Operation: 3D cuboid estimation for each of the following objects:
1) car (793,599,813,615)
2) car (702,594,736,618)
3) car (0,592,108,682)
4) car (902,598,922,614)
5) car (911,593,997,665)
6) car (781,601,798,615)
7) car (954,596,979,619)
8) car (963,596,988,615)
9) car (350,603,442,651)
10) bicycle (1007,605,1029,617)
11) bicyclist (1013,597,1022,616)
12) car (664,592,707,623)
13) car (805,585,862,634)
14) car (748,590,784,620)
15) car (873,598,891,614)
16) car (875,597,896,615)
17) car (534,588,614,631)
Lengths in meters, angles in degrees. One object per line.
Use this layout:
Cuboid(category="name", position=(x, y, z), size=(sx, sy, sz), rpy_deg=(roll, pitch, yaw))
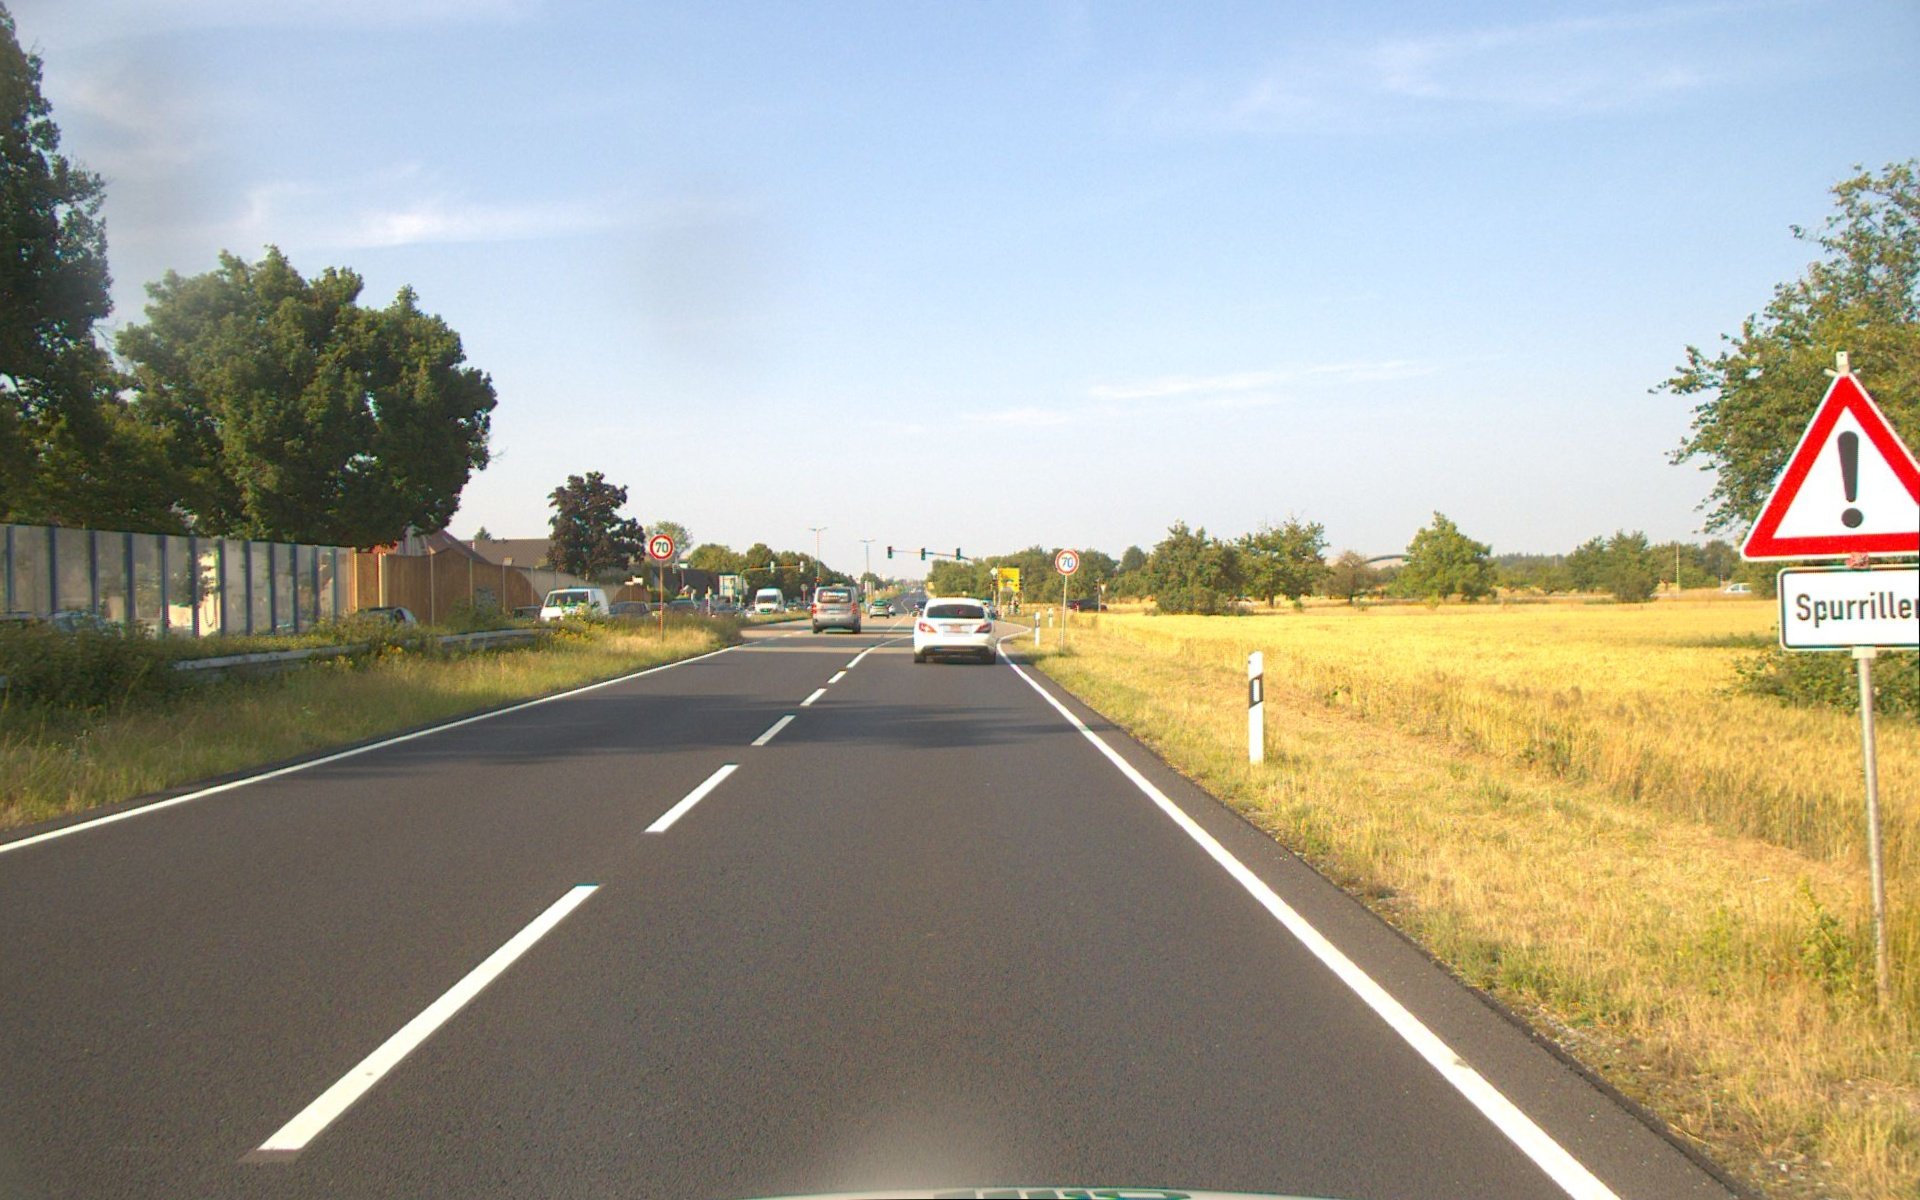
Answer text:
Cuboid(category="car", position=(-16.455, 0.705, 173.649), size=(1.696, 1.653, 4.920), rpy_deg=(1, 0, -2))
Cuboid(category="car", position=(-14.898, 0.359, 102.260), size=(1.615, 1.467, 3.567), rpy_deg=(1, 0, -1))
Cuboid(category="car", position=(-16.678, 0.602, 28.799), size=(1.719, 1.467, 3.998), rpy_deg=(1, 0, -2))
Cuboid(category="car", position=(-5.066, 0.633, 174.692), size=(1.803, 1.713, 3.996), rpy_deg=(1, 0, -5))
Cuboid(category="car", position=(-0.181, 0.623, 37.711), size=(1.856, 1.535, 3.999), rpy_deg=(0, 0, -2))
Cuboid(category="car", position=(-21.406, 0.992, 207.695), size=(1.687, 1.736, 3.999), rpy_deg=(1, 0, -1))
Cuboid(category="car", position=(0.445, 0.534, 118.802), size=(1.718, 1.543, 3.999), rpy_deg=(-1, 0, -1))
Cuboid(category="car", position=(1.330, 0.464, 142.687), size=(1.818, 1.626, 3.997), rpy_deg=(1, 0, -4))
Cuboid(category="car", position=(-17.479, 0.816, 51.403), size=(1.640, 1.402, 3.606), rpy_deg=(1, 0, -1))
Cuboid(category="bicycle", position=(5.564, 1.070, 158.635), size=(2.052, 1.108, 0.808), rpy_deg=(1, 0, 2))
Cuboid(category="bicyclist", position=(5.530, 0.654, 158.649), size=(0.831, 1.786, 0.798), rpy_deg=(1, 0, 0))
Cuboid(category="car", position=(-13.921, 0.369, 84.124), size=(1.484, 1.491, 4.657), rpy_deg=(1, 0, -1))
Cuboid(category="car", position=(-5.134, 0.343, 67.778), size=(1.984, 1.925, 4.958), rpy_deg=(1, 1, -1))
Cuboid(category="car", position=(-16.019, 0.417, 136.685), size=(2.301, 2.344, 7.188), rpy_deg=(1, 0, -2))
Cuboid(category="car", position=(-8.392, 0.625, 177.601), size=(1.741, 1.695, 3.660), rpy_deg=(1, 0, -5))
Cuboid(category="car", position=(-6.429, 0.478, 142.505), size=(1.682, 1.518, 3.584), rpy_deg=(1, 0, -1))
Cuboid(category="car", position=(-14.313, 0.331, 61.624), size=(1.941, 1.510, 5.058), rpy_deg=(1, 0, -2))
